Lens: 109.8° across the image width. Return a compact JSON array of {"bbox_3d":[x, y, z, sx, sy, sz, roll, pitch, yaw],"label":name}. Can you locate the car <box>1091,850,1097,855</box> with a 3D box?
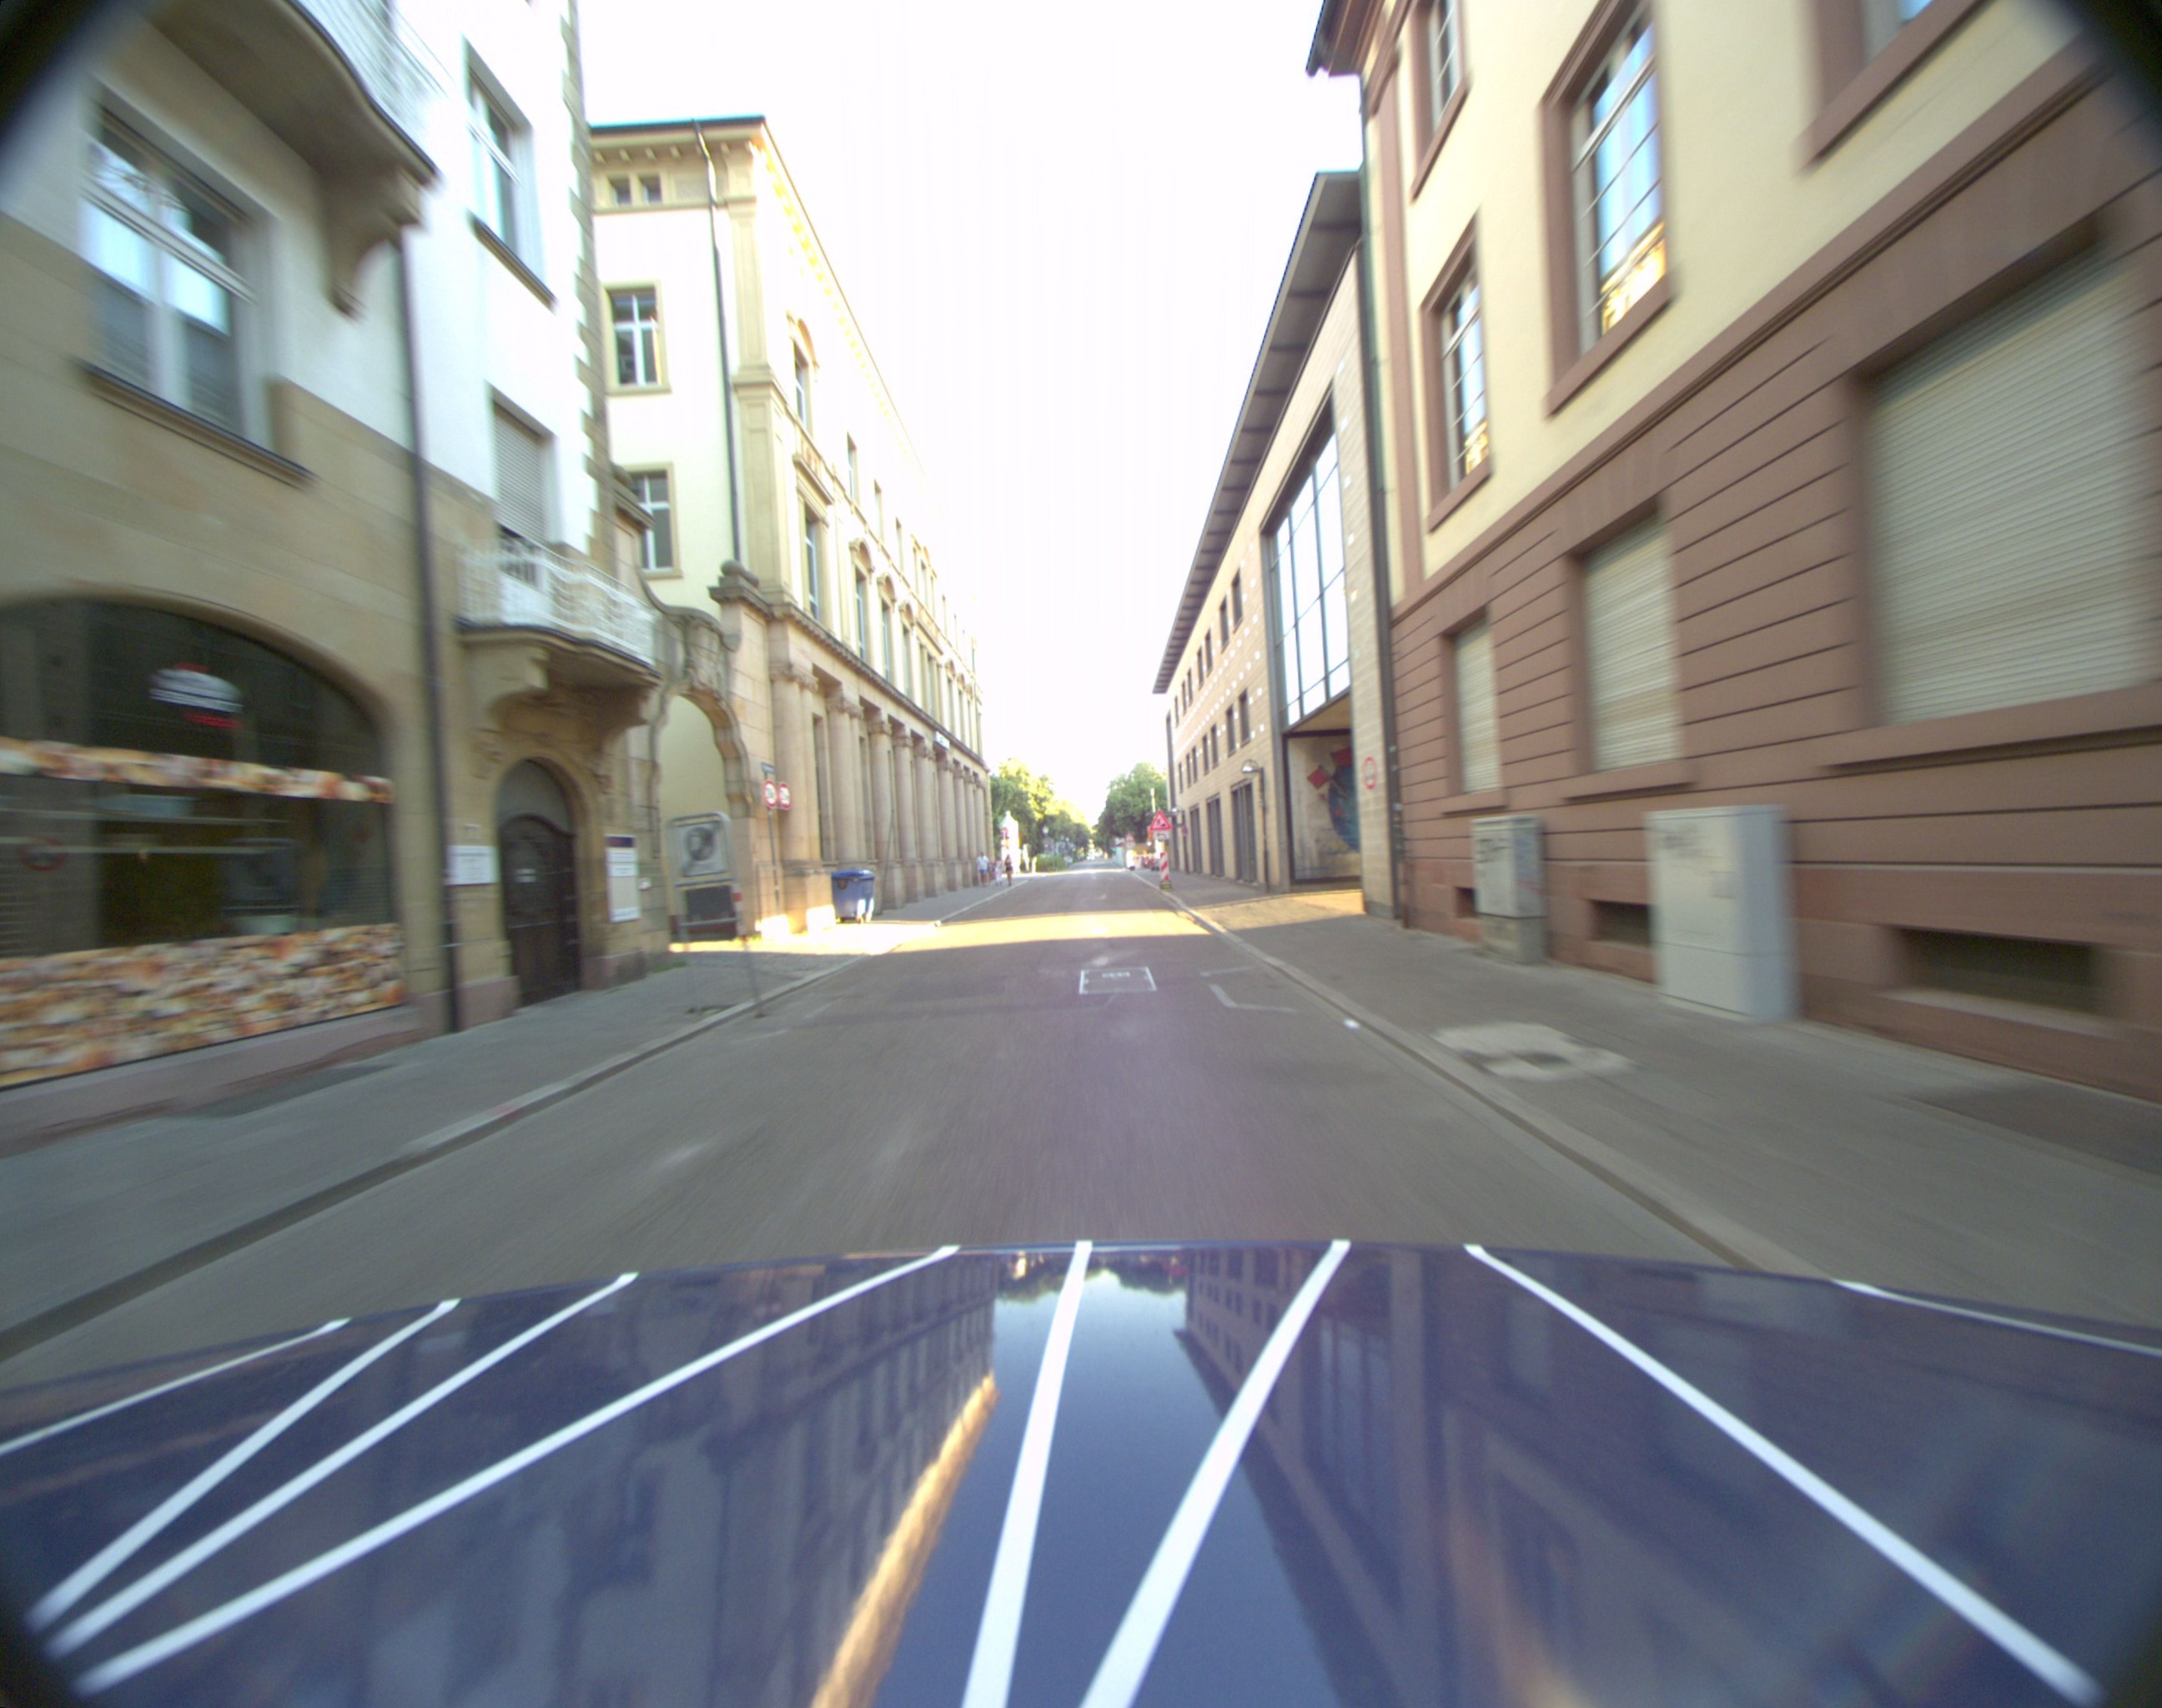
[{"bbox_3d":[4.109,-0.529,237.991,1.858,1.519,4.000,-3,1,2],"label":"car"}]

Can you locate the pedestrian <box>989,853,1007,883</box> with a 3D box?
[{"bbox_3d":[-4.477,0.760,41.085,0.856,1.589,0.924,0,1,-1],"label":"pedestrian"}]

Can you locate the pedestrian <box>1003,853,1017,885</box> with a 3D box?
[{"bbox_3d":[-3.696,0.756,39.715,0.649,1.643,0.758,0,1,-1],"label":"pedestrian"}]

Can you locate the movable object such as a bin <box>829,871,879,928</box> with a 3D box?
[{"bbox_3d":[-5.724,1.122,19.198,0.898,1.367,1.137,-1,1,0],"label":"movable object such as a bin"}]

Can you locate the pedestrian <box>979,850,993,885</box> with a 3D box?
[{"bbox_3d":[-4.959,0.702,39.679,0.649,1.769,0.758,0,1,-1],"label":"pedestrian"}]
